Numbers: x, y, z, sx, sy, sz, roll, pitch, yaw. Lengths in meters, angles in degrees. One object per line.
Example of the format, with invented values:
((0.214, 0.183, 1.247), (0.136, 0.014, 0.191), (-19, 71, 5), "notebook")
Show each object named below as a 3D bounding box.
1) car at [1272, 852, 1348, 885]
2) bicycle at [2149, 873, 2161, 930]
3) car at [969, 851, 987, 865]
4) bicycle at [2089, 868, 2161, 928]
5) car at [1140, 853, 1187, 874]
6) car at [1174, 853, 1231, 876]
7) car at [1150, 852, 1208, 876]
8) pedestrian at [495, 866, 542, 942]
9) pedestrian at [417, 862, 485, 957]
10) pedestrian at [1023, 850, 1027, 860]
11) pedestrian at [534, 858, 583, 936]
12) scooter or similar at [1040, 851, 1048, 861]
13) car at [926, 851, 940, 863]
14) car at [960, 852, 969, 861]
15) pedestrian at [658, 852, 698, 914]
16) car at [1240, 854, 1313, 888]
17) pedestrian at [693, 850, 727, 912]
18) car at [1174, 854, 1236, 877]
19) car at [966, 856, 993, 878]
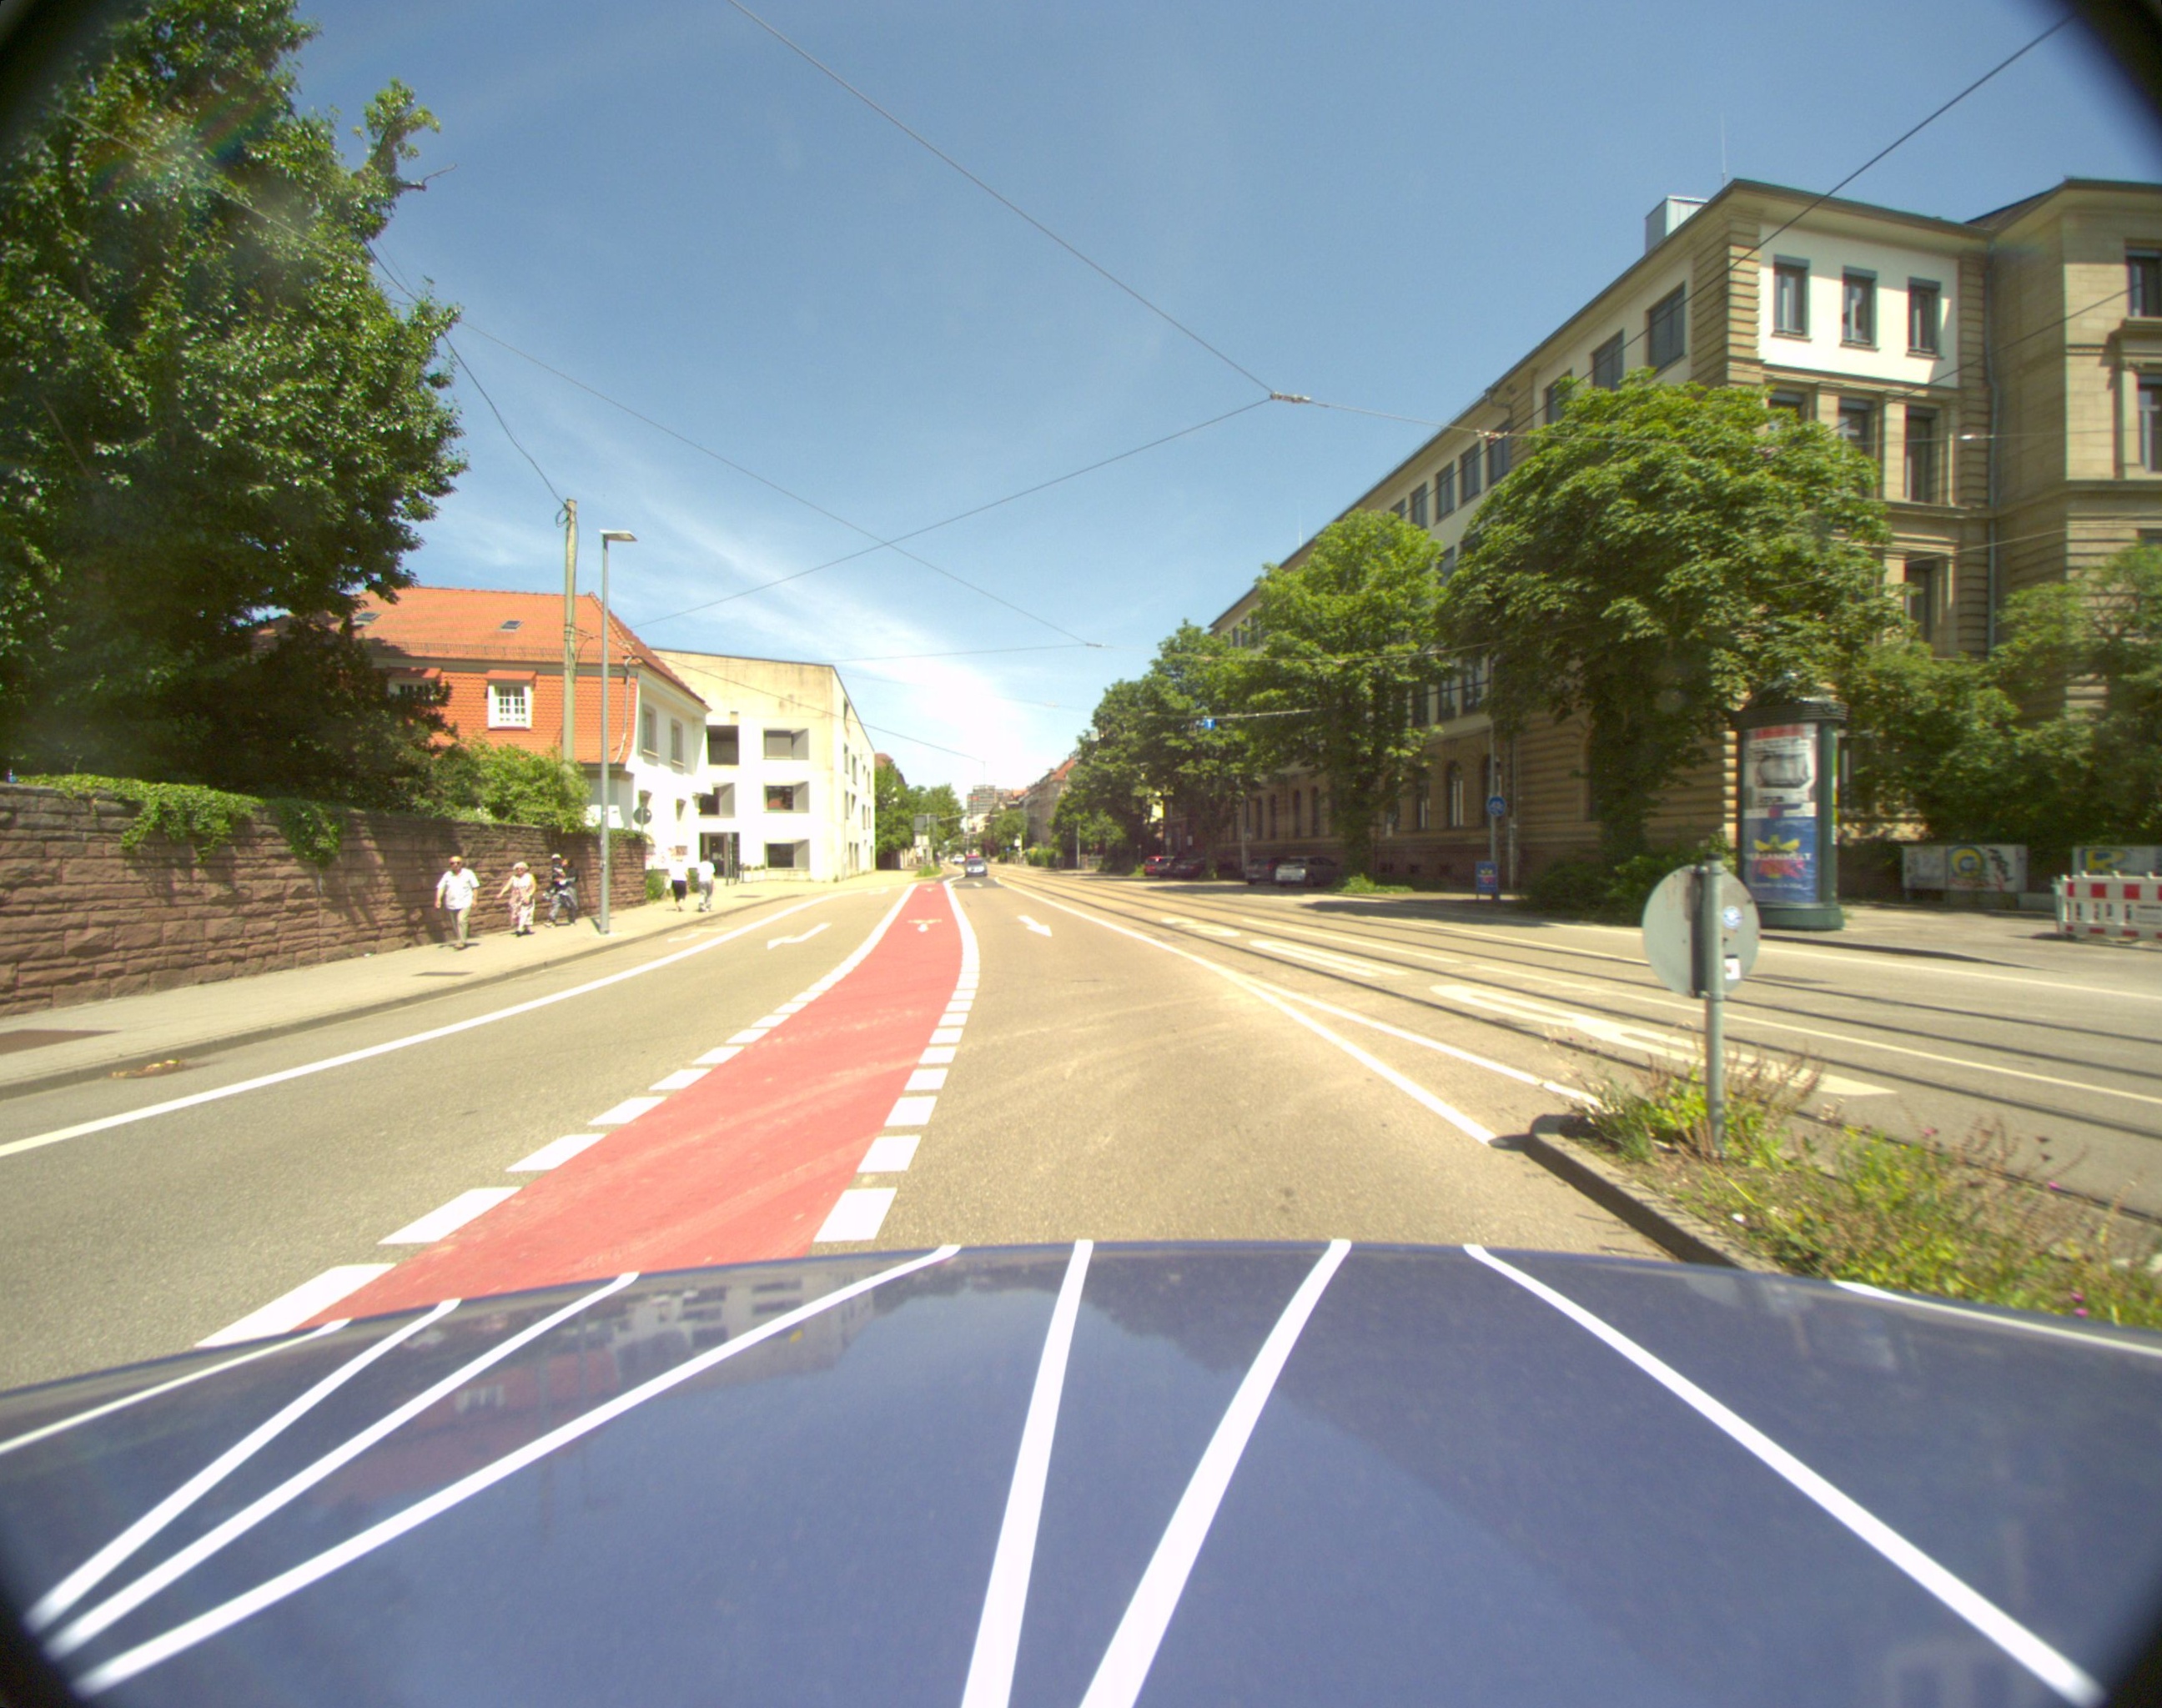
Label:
((10.824, 0.663, 35.890), (3.556, 1.398, 1.697), (-1, 1, -39), "car")
((21.477, 0.904, 14.446), (1.737, 1.096, 0.504), (0, 1, -3), "bicycle")
((-12.277, 0.451, 90.010), (1.876, 1.638, 3.774), (-1, 1, -11), "car")
((21.412, 0.876, 15.267), (1.687, 1.141, 0.463), (-1, 2, 0), "bicycle")
((6.331, 0.712, 58.384), (3.358, 1.507, 1.665), (-2, 1, -36), "car")
((8.432, 0.706, 52.698), (3.826, 1.567, 1.789), (0, 0, -40), "car")
((7.121, 0.697, 55.138), (4.330, 1.575, 1.665), (-2, 1, -40), "car")
((-11.541, 1.016, 15.598), (0.517, 1.524, 0.597), (0, 1, -5), "pedestrian")
((-11.143, 0.965, 13.457), (0.662, 1.637, 0.624), (0, 1, -5), "pedestrian")
((-9.209, 0.100, 124.977), (0.742, 1.632, 0.939), (0, 1, -8), "pedestrian")
((-12.080, 0.985, 17.597), (0.719, 1.763, 0.628), (-1, 0, -12), "pedestrian")
((-5.585, 0.345, 114.440), (1.012, 1.443, 0.596), (-1, 2, -11), "scooter or similar")
((-20.843, 0.391, 107.406), (1.866, 1.568, 4.872), (-1, 0, -10), "car")
((-22.500, 0.428, 146.393), (1.621, 1.700, 3.426), (-1, 1, -9), "car")
((-11.951, 0.839, 22.560), (0.816, 1.797, 0.699), (0, 1, -6), "pedestrian")
((9.978, 0.832, 38.712), (3.683, 1.511, 1.665), (-2, 1, -39), "car")
((-11.055, 0.795, 22.669), (0.679, 1.797, 0.747), (0, 1, -6), "pedestrian")
((8.017, 0.719, 49.056), (3.941, 1.366, 1.665), (0, 0, -36), "car")
((-8.149, 0.986, 60.654), (1.895, 1.561, 4.032), (-1, 1, -10), "car")
